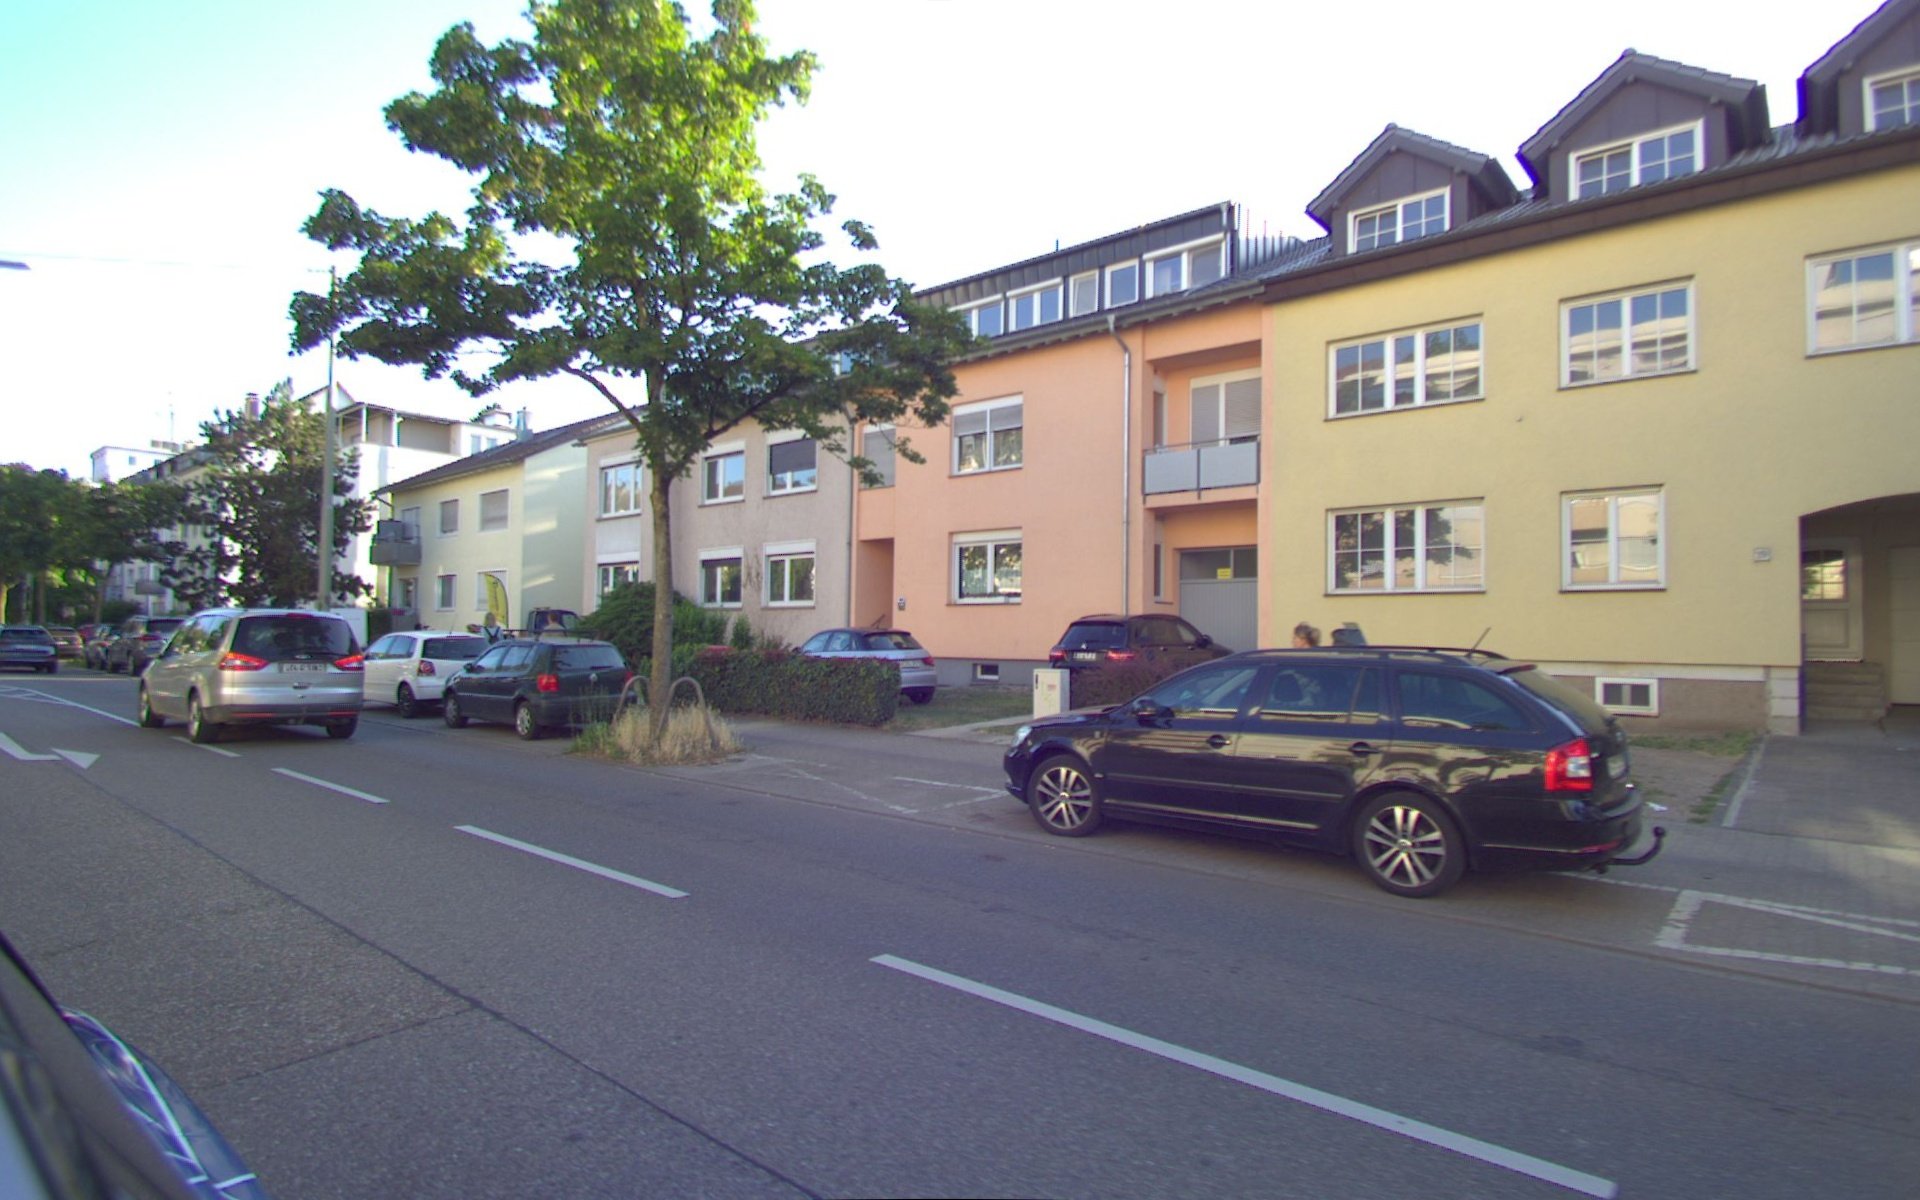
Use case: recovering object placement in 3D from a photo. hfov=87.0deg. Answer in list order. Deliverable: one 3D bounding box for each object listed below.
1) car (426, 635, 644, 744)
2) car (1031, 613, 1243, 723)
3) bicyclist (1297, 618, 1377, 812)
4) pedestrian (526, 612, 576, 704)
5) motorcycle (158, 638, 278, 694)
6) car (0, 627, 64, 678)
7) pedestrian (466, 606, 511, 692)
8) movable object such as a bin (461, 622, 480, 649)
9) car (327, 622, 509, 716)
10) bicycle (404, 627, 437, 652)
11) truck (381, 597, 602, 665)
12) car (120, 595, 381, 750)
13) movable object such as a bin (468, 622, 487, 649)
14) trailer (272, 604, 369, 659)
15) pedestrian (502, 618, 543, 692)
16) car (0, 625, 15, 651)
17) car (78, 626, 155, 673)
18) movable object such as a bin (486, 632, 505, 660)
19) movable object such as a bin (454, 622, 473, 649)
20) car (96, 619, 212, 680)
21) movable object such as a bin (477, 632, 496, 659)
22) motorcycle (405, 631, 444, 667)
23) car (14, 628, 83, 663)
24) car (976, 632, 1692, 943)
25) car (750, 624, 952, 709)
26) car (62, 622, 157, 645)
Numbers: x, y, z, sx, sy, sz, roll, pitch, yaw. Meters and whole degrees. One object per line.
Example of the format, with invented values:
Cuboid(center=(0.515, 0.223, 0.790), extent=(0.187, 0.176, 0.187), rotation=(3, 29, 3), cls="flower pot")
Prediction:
Cuboid(center=(-6.440, 1.249, 15.180), extent=(3.664, 1.407, 1.527), rotation=(-1, -2, 41), cls="car")
Cuboid(center=(3.202, 1.086, 17.791), extent=(1.865, 1.648, 3.945), rotation=(-1, -1, 42), cls="car")
Cuboid(center=(3.404, 1.003, 9.133), extent=(0.552, 1.676, 0.464), rotation=(-1, -3, 40), cls="bicyclist")
Cuboid(center=(-8.212, 1.152, 20.316), extent=(0.572, 1.806, 0.706), rotation=(-1, -3, 43), cls="pedestrian")
Cuboid(center=(-18.066, 1.591, 24.668), extent=(2.350, 1.276, 1.176), rotation=(0, -2, 17), cls="motorcycle")
Cuboid(center=(-29.572, 1.596, 31.534), extent=(4.530, 1.463, 1.742), rotation=(-1, -5, 40), cls="car")
Cuboid(center=(-10.180, 1.048, 21.844), extent=(0.506, 1.806, 0.706), rotation=(-1, -3, 43), cls="pedestrian")
Cuboid(center=(-19.130, 1.398, 39.518), extent=(0.449, 1.026, 0.497), rotation=(-1, -3, 40), cls="movable object such as a bin")
Cuboid(center=(-9.954, 1.186, 18.500), extent=(3.887, 1.535, 1.577), rotation=(-1, -2, 40), cls="car")
Cuboid(center=(-23.128, 1.688, 43.397), extent=(2.045, 1.072, 0.514), rotation=(-1, -3, 41), cls="bicycle")
Cuboid(center=(-16.491, 1.115, 36.057), extent=(2.275, 2.202, 6.823), rotation=(-1, -3, 40), cls="truck")
Cuboid(center=(-9.992, 0.935, 14.110), extent=(4.743, 1.818, 1.787), rotation=(-1, -4, 41), cls="car")
Cuboid(center=(-18.702, 1.389, 39.215), extent=(0.449, 1.026, 0.497), rotation=(-1, -3, 40), cls="movable object such as a bin")
Cuboid(center=(-24.517, 1.231, 38.863), extent=(1.551, 2.029, 2.746), rotation=(-1, -3, 38), cls="trailer")
Cuboid(center=(-9.117, 1.141, 21.101), extent=(0.542, 1.507, 0.583), rotation=(-1, -3, 43), cls="pedestrian")
Cuboid(center=(-56.743, 2.182, 59.207), extent=(3.634, 1.475, 1.717), rotation=(-1, -2, 41), cls="car")
Cuboid(center=(-29.500, 1.713, 35.374), extent=(2.747, 1.567, 1.557), rotation=(-1, -2, 40), cls="car")
Cuboid(center=(-17.458, 1.724, 38.034), extent=(0.449, 1.026, 0.497), rotation=(-1, -3, 40), cls="movable object such as a bin")
Cuboid(center=(-19.557, 1.405, 39.870), extent=(0.449, 1.026, 0.497), rotation=(-1, -3, 40), cls="movable object such as a bin")
Cuboid(center=(-25.290, 1.500, 31.698), extent=(4.722, 1.793, 1.868), rotation=(-1, -2, 40), cls="car")
Cuboid(center=(-17.973, 1.732, 38.428), extent=(0.449, 1.026, 0.497), rotation=(-1, -3, 40), cls="movable object such as a bin")
Cuboid(center=(-21.101, 1.912, 39.851), extent=(2.257, 1.384, 0.564), rotation=(-1, -3, 41), cls="motorcycle")
Cuboid(center=(-39.231, 1.936, 43.521), extent=(4.441, 1.418, 1.620), rotation=(-1, -2, 41), cls="car")
Cuboid(center=(2.430, 1.020, 7.343), extent=(4.515, 1.506, 1.848), rotation=(-1, -1, 41), cls="car")
Cuboid(center=(-2.087, 1.175, 18.755), extent=(3.752, 1.420, 1.647), rotation=(-1, -4, 43), cls="car")
Cuboid(center=(-56.650, 2.203, 67.492), extent=(1.734, 1.416, 4.516), rotation=(-1, 0, 30), cls="car")
